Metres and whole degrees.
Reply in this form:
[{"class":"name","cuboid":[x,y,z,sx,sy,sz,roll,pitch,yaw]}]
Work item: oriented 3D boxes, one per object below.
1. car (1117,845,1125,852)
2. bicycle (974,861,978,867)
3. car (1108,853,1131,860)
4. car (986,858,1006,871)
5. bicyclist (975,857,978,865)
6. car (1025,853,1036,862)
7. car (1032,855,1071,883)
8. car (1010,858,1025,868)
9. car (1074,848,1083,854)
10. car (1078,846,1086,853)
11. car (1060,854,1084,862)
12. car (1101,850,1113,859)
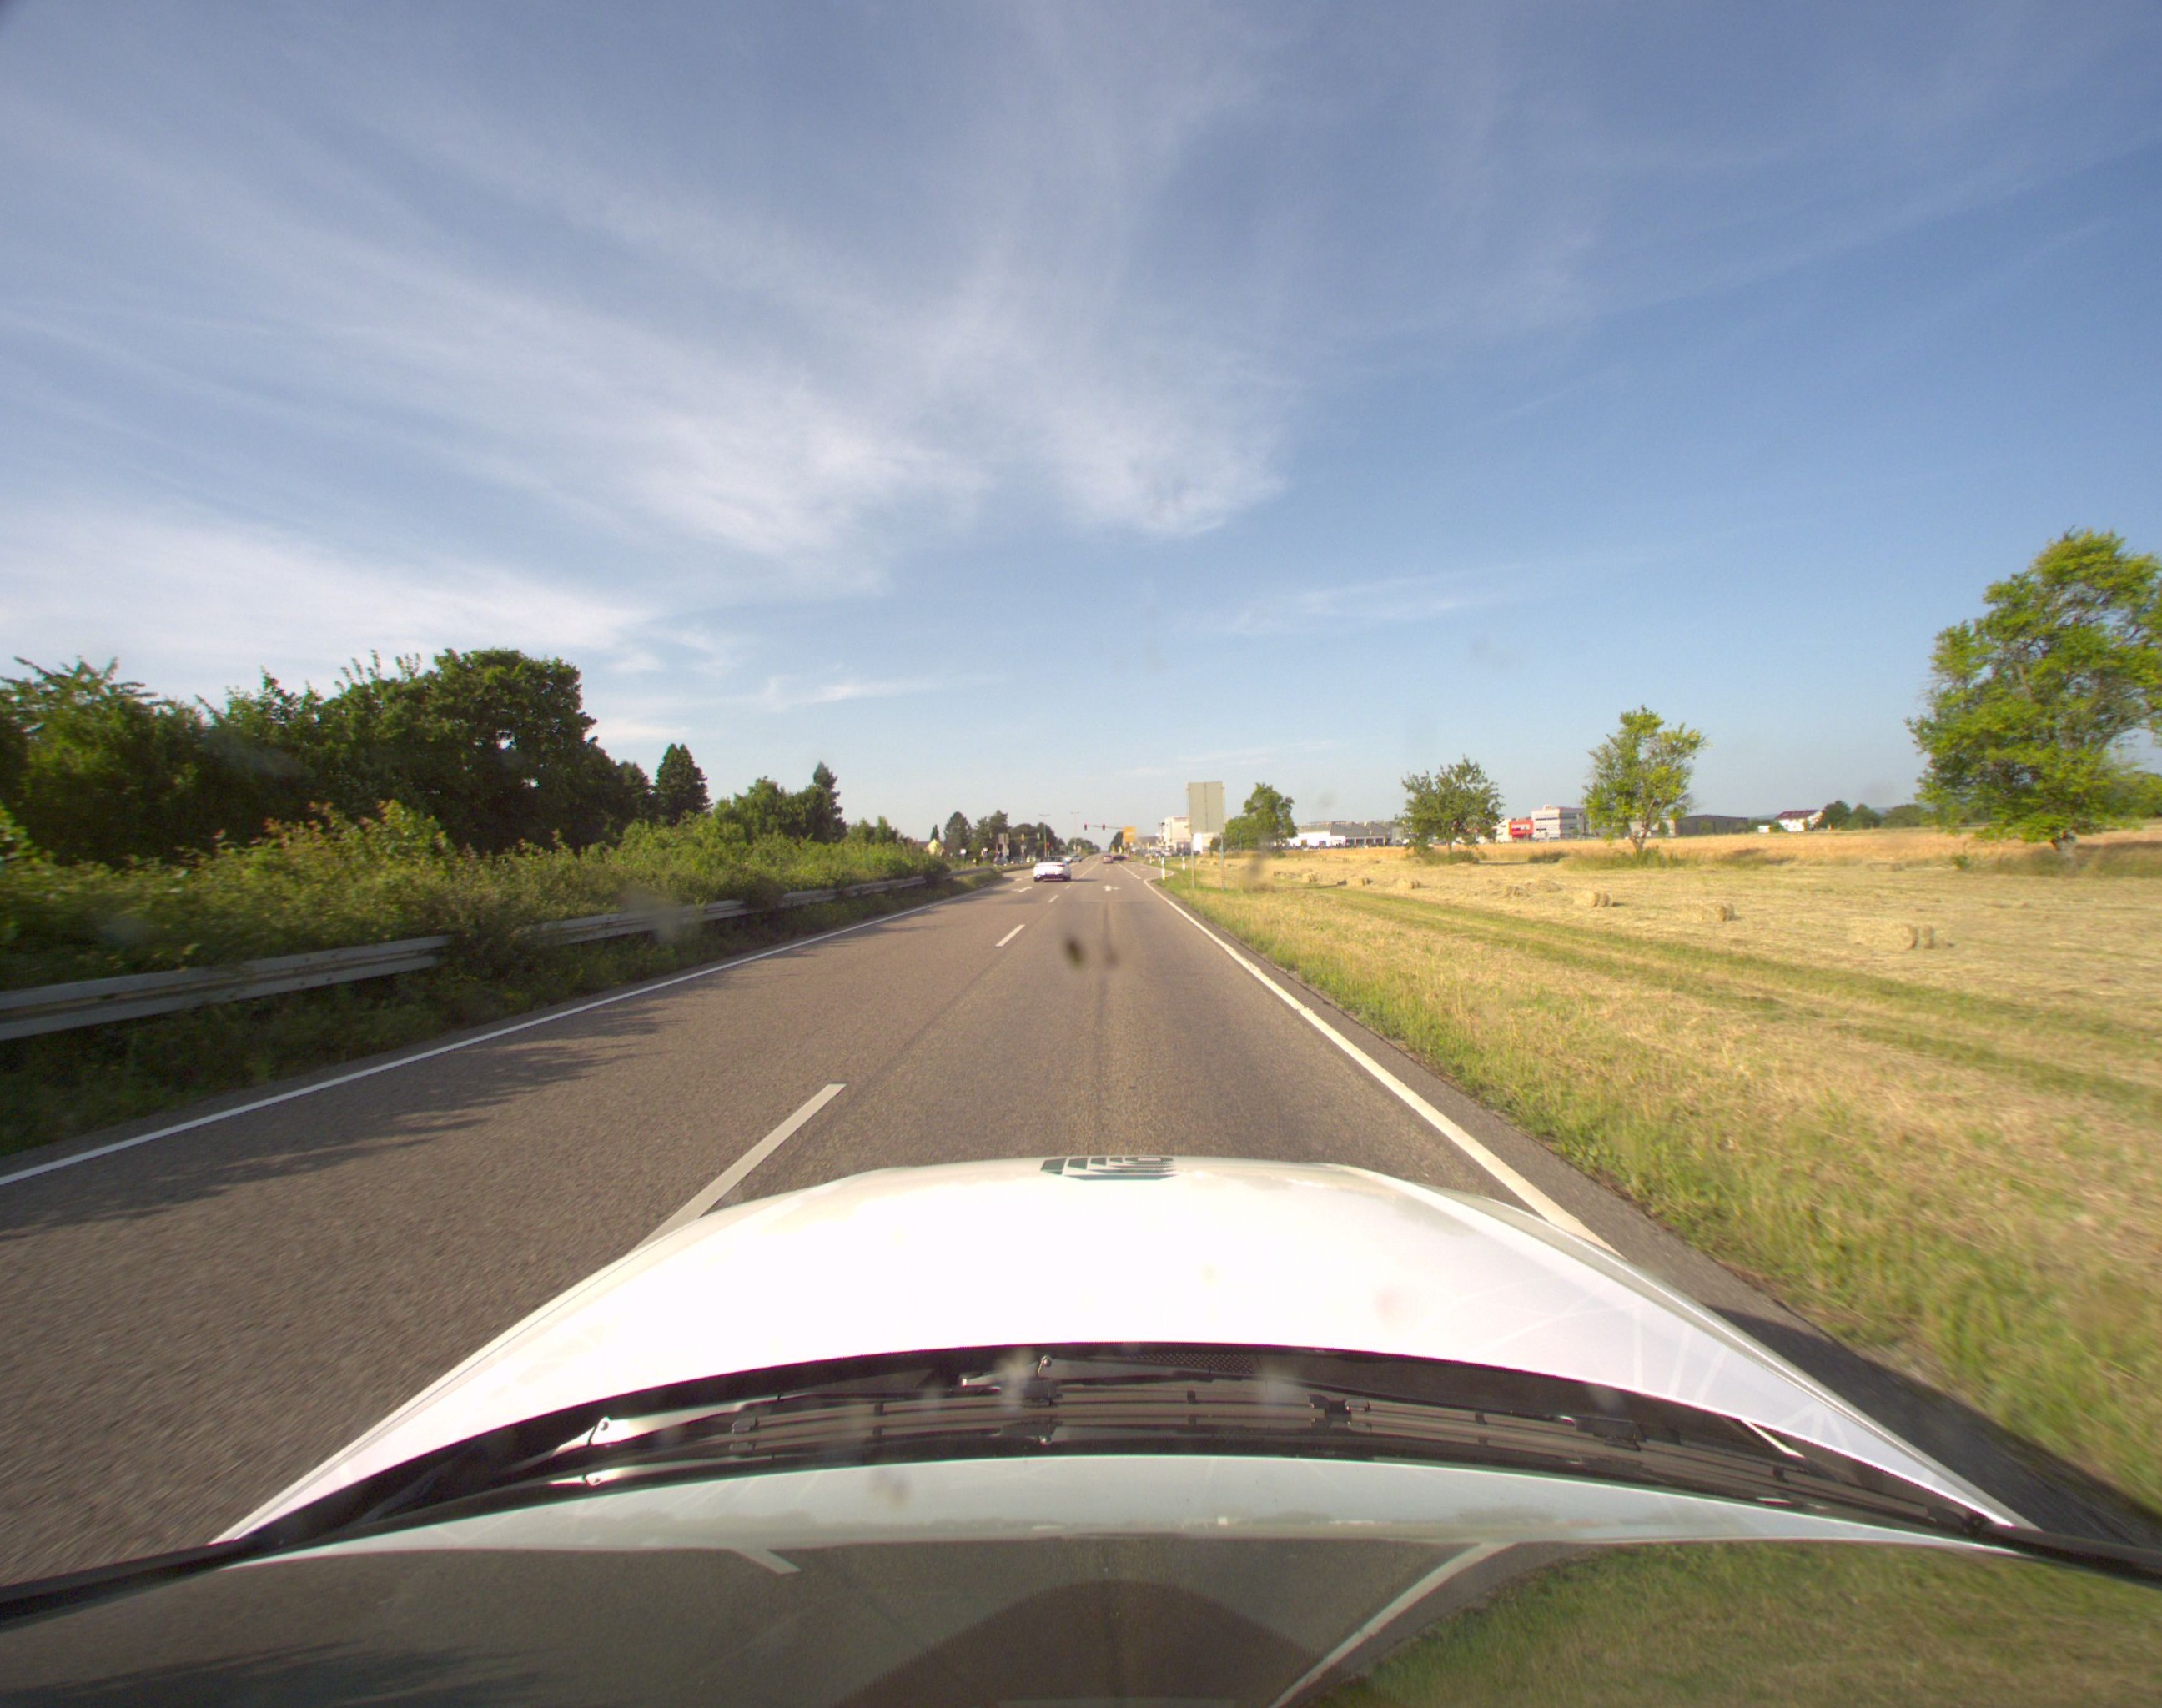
[{"class":"car","cuboid":[10.139,-1.424,208.425,1.985,1.757,4.003,-1,0,3]},{"class":"bicycle","cuboid":[-17.983,1.710,139.512,0.406,1.015,1.602,-3,0,-1]},{"class":"car","cuboid":[7.408,0.508,158.198,3.998,1.408,1.942,-1,0,-18]},{"class":"car","cuboid":[-10.844,1.334,103.866,1.986,1.486,4.228,-1,0,1]},{"class":"bicyclist","cuboid":[-17.920,1.188,139.607,0.454,1.352,0.552,-3,0,-2]},{"class":"car","cuboid":[-11.044,0.804,176.795,1.940,1.800,4.003,-1,0,2]},{"class":"car","cuboid":[-1.594,0.785,44.935,1.903,1.422,4.001,-1,0,1]},{"class":"car","cuboid":[-9.624,1.416,123.916,1.722,1.408,4.003,-1,0,2]},{"class":"car","cuboid":[-0.666,-0.668,194.382,1.940,1.408,4.003,-1,0,2]},{"class":"car","cuboid":[0.308,-1.166,208.583,1.940,1.772,4.003,-1,0,2]},{"class":"car","cuboid":[-1.693,0.815,154.122,4.001,1.408,1.941,-1,0,-21]},{"class":"car","cuboid":[4.291,0.073,134.551,1.986,1.486,4.001,-1,0,1]}]
